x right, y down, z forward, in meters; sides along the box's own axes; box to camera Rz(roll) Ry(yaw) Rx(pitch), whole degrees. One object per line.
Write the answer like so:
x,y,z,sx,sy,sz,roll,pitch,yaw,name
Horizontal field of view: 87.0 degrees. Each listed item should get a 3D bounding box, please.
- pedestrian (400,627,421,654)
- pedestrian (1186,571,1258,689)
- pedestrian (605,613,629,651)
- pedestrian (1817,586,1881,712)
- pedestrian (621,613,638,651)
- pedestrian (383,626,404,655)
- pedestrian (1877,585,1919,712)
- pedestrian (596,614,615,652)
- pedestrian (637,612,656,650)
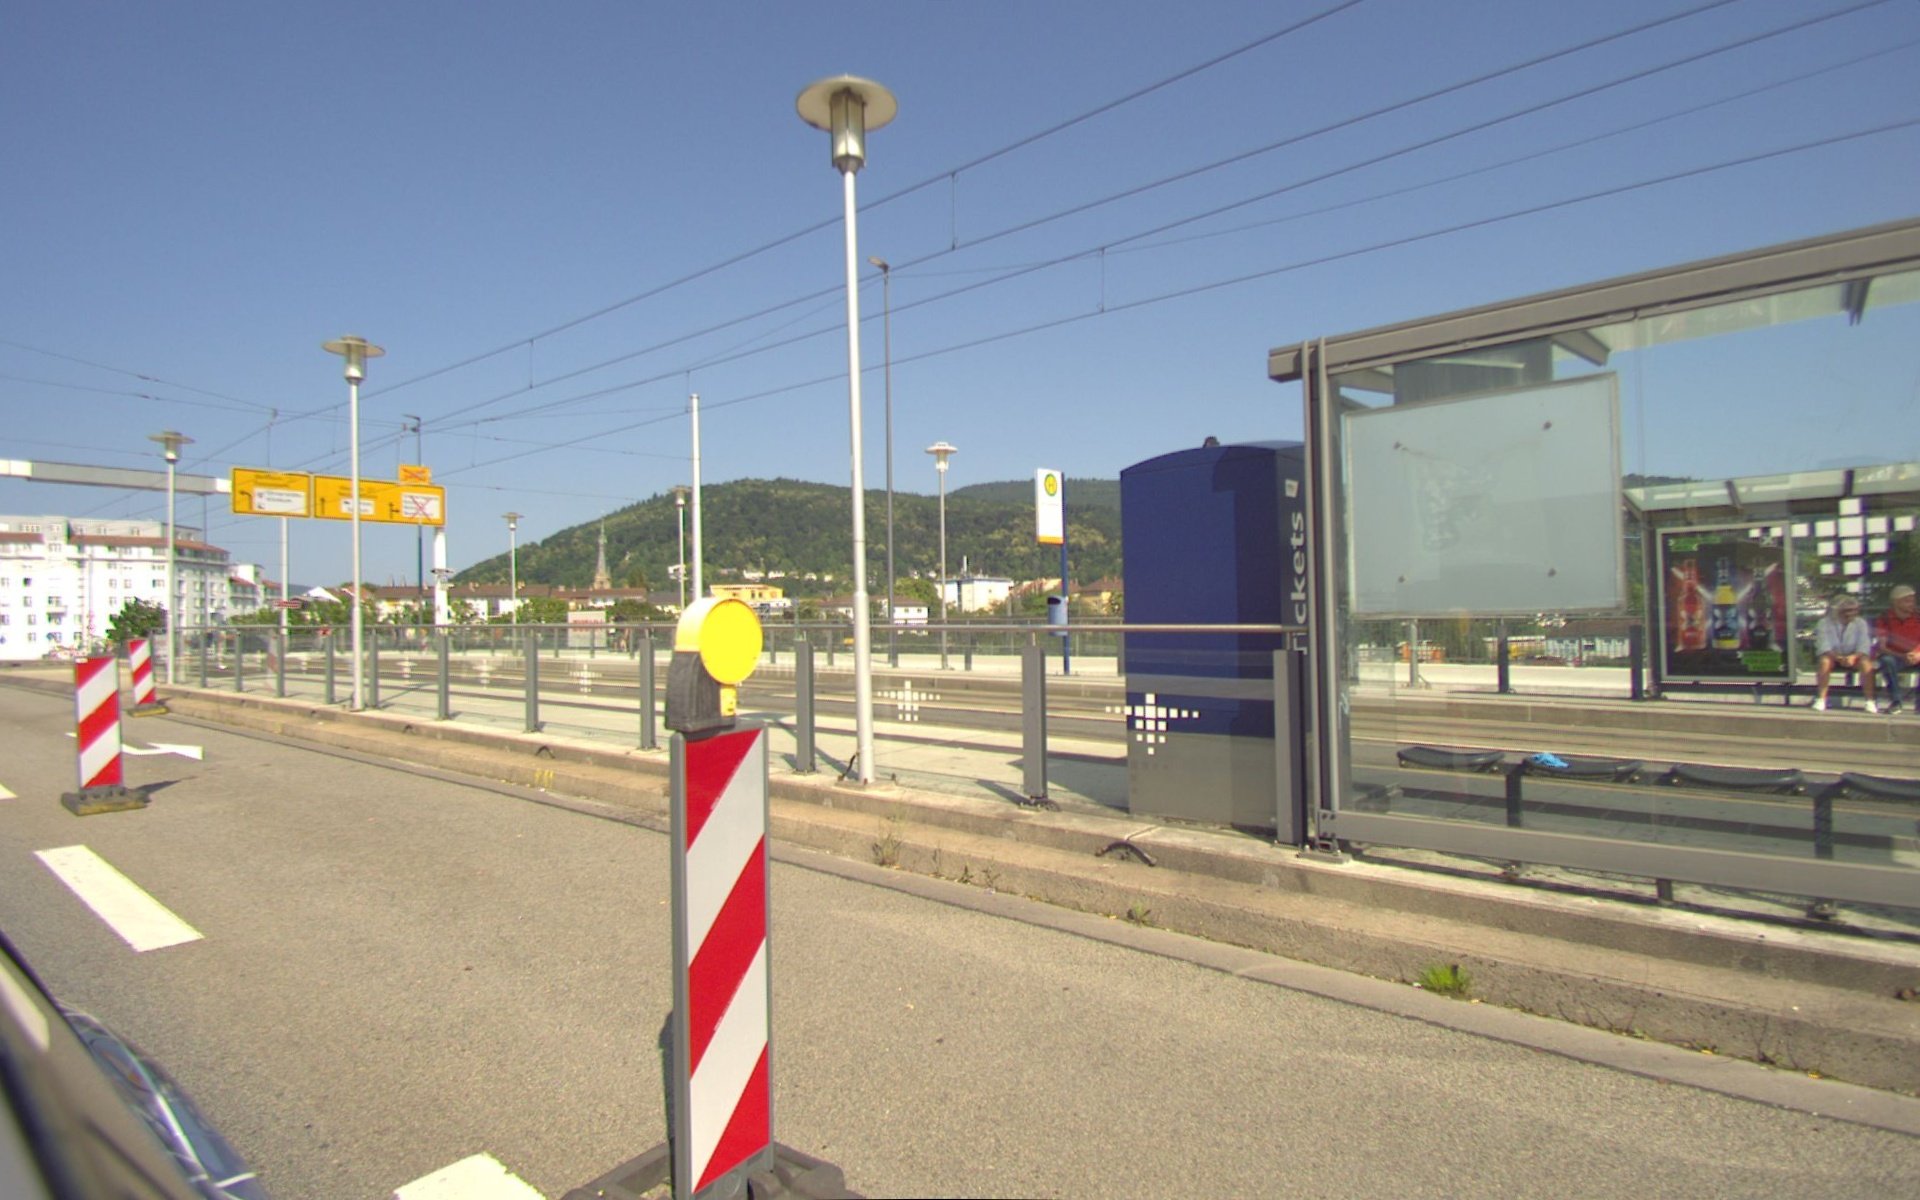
-32.901,2.405,60.614,0.887,1.556,0.713,-3,0,37,pedestrian
3.845,0.437,14.864,0.652,1.667,0.740,0,-2,-39,pedestrian
-15.406,1.437,45.419,0.731,1.700,0.745,-3,-3,40,pedestrian
9.471,0.509,10.779,0.453,1.283,0.641,-2,-2,43,pedestrian
-15.094,1.466,46.167,0.769,1.700,0.379,-3,-3,41,pedestrian
-33.580,2.427,59.949,0.893,1.654,0.737,-3,0,37,pedestrian
9.901,0.486,10.375,0.697,1.283,0.641,-2,-2,43,pedestrian
-16.239,1.509,46.376,0.807,1.700,0.481,-3,-3,40,pedestrian
-14.193,1.418,45.816,0.772,1.700,0.498,-3,-3,40,pedestrian
